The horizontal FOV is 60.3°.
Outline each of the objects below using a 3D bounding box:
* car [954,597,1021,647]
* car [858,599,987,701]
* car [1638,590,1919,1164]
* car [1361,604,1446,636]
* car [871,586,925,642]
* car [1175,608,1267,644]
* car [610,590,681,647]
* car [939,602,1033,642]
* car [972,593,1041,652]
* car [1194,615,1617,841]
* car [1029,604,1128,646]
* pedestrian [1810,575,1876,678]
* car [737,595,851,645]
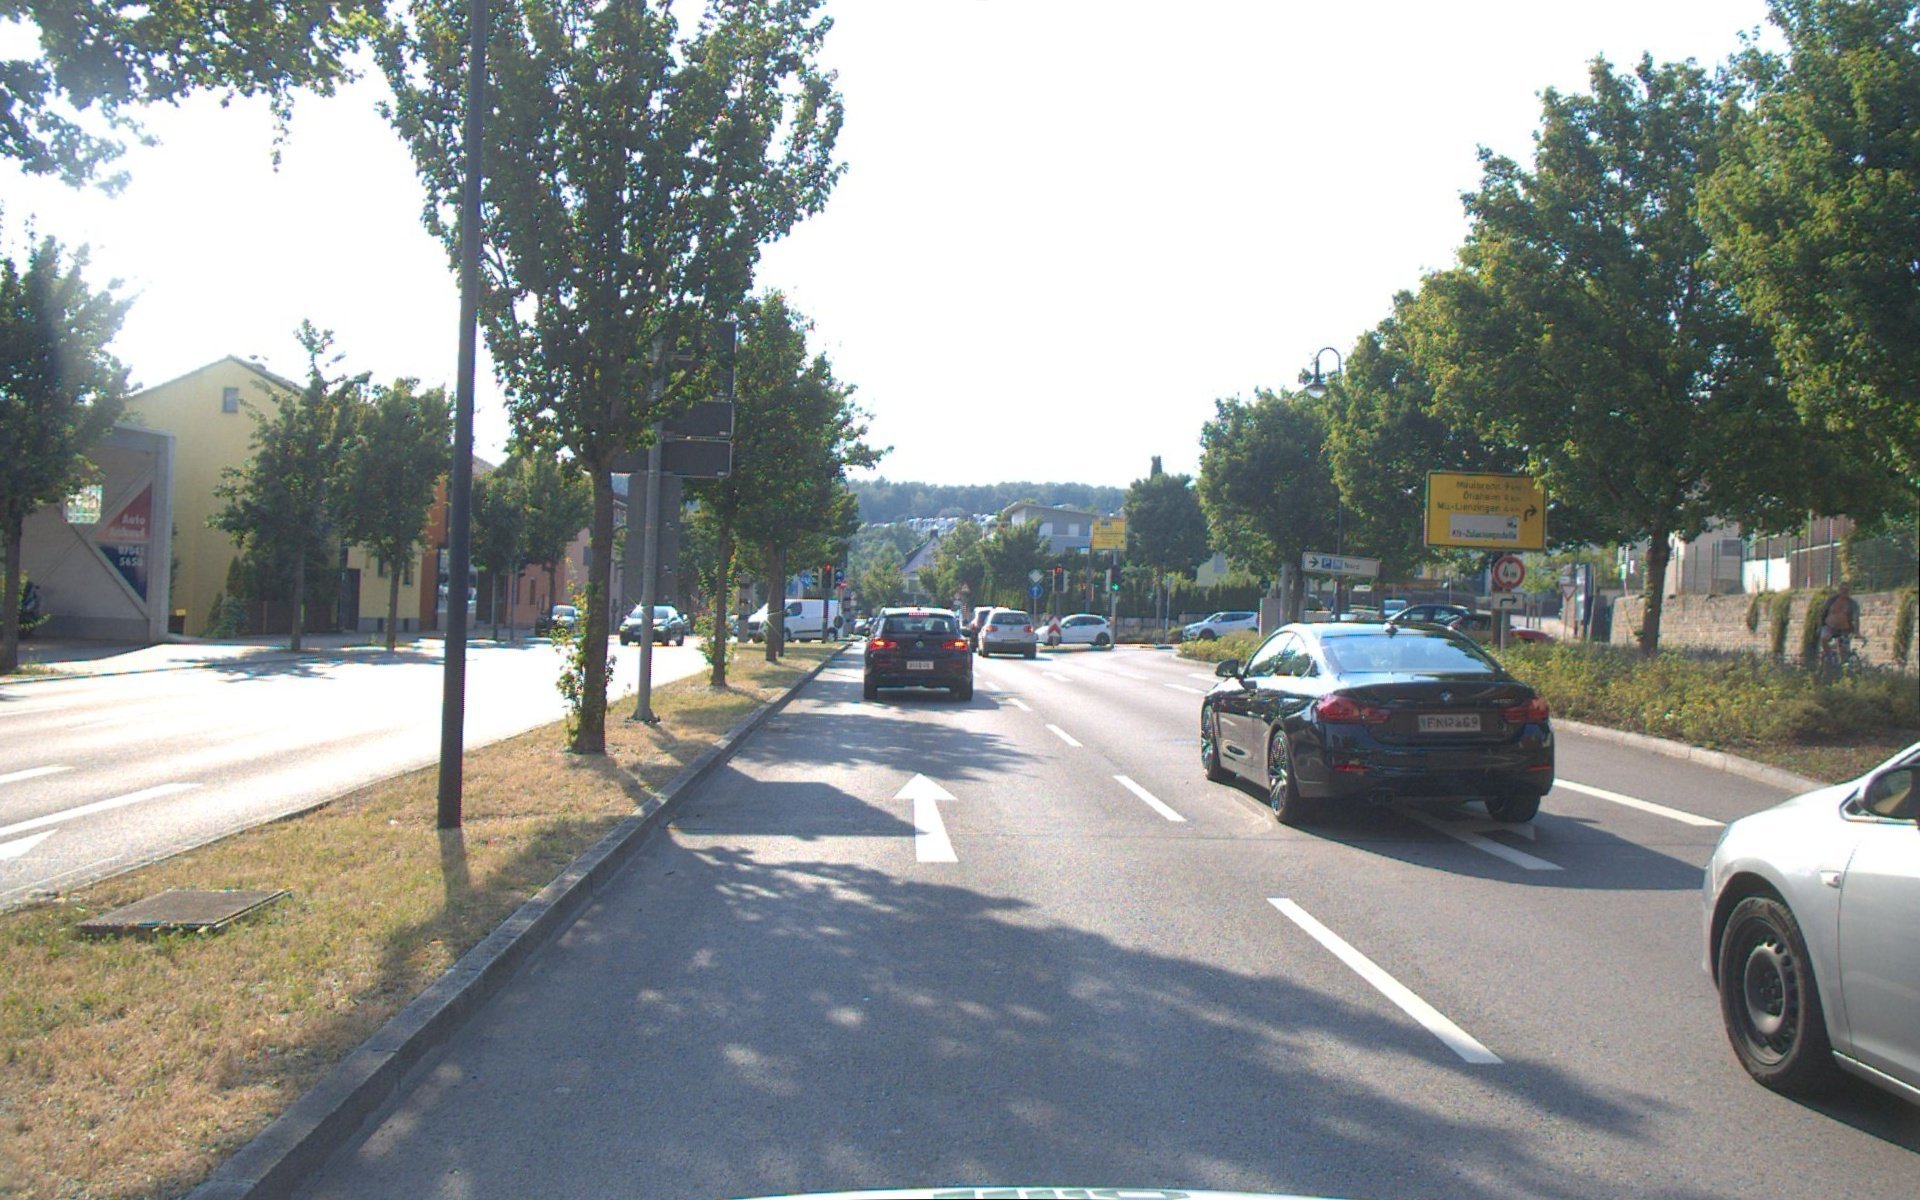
[{"bbox_3d":[0.981,0.788,61.840,2.172,1.800,4.452,1,0,-3],"label":"car"},{"bbox_3d":[-0.539,0.764,27.504,1.685,1.516,4.355,1,0,4],"label":"car"},{"bbox_3d":[3.406,0.752,4.035,1.686,1.516,4.306,0,1,-1],"label":"car"},{"bbox_3d":[26.470,1.180,98.777,4.540,1.861,1.998,1,0,-5],"label":"car"},{"bbox_3d":[-2.077,0.444,55.130,1.721,1.800,3.968,1,0,-3],"label":"car"},{"bbox_3d":[14.117,1.413,89.606,4.551,1.861,1.993,1,0,-13],"label":"car"},{"bbox_3d":[-11.751,0.652,62.111,2.098,2.044,5.119,1,0,-5],"label":"car"},{"bbox_3d":[1.356,1.140,87.301,4.847,1.963,2.146,1,0,-1],"label":"car"},{"bbox_3d":[1.470,0.704,53.493,1.887,1.800,4.452,1,0,-3],"label":"car"},{"bbox_3d":[3.124,0.831,12.598,1.882,1.388,4.350,1,0,-3],"label":"car"},{"bbox_3d":[5.841,1.223,81.756,4.458,1.963,2.139,1,0,-14],"label":"car"},{"bbox_3d":[15.122,0.450,28.348,0.681,1.732,0.950,1,0,6],"label":"pedestrian"},{"bbox_3d":[-7.502,0.880,75.157,2.109,2.167,5.092,1,0,42],"label":"car"}]
